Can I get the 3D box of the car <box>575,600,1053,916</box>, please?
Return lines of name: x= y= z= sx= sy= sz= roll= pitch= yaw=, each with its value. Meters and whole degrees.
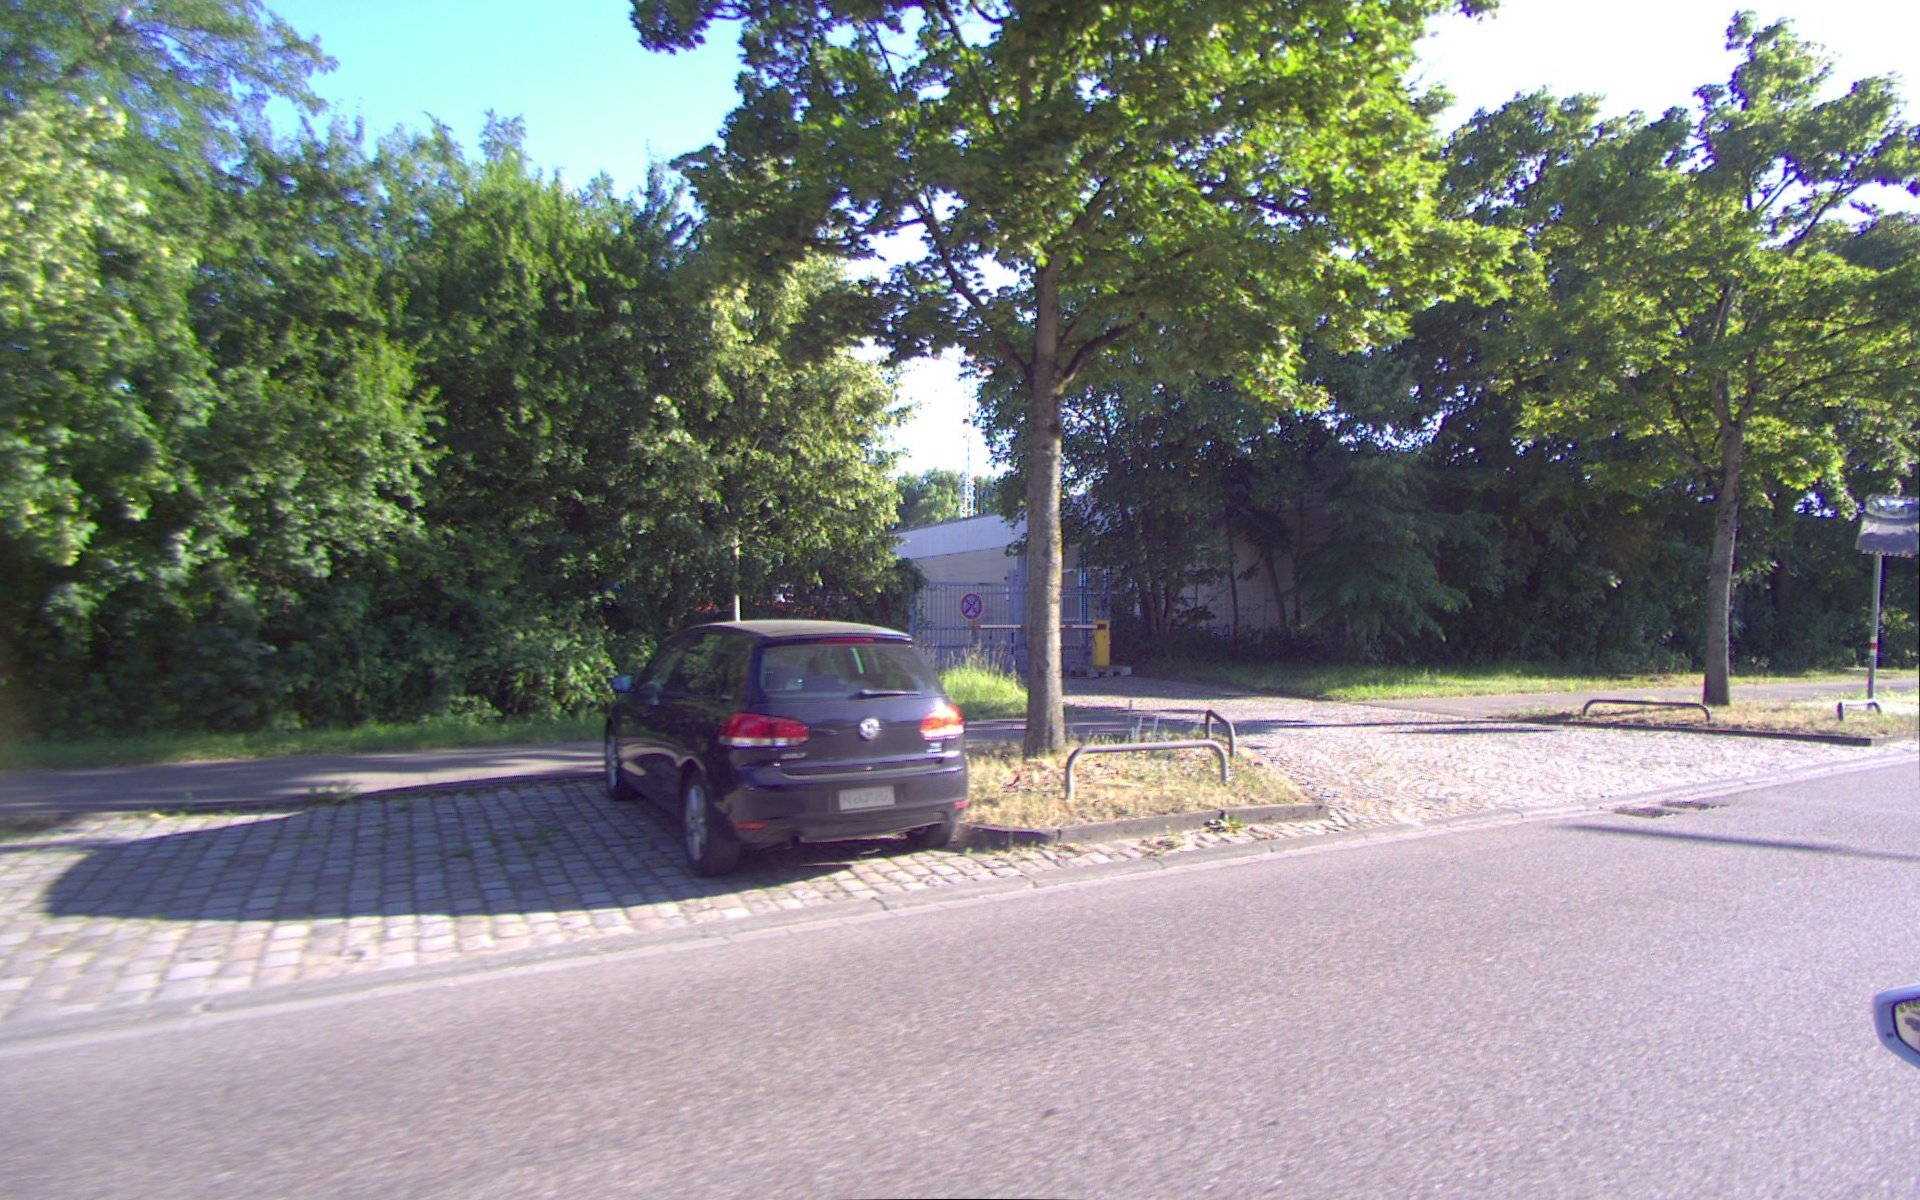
car: x=-1.399 y=0.801 z=7.389 sx=1.977 sy=1.499 sz=4.336 roll=1 pitch=1 yaw=-31
